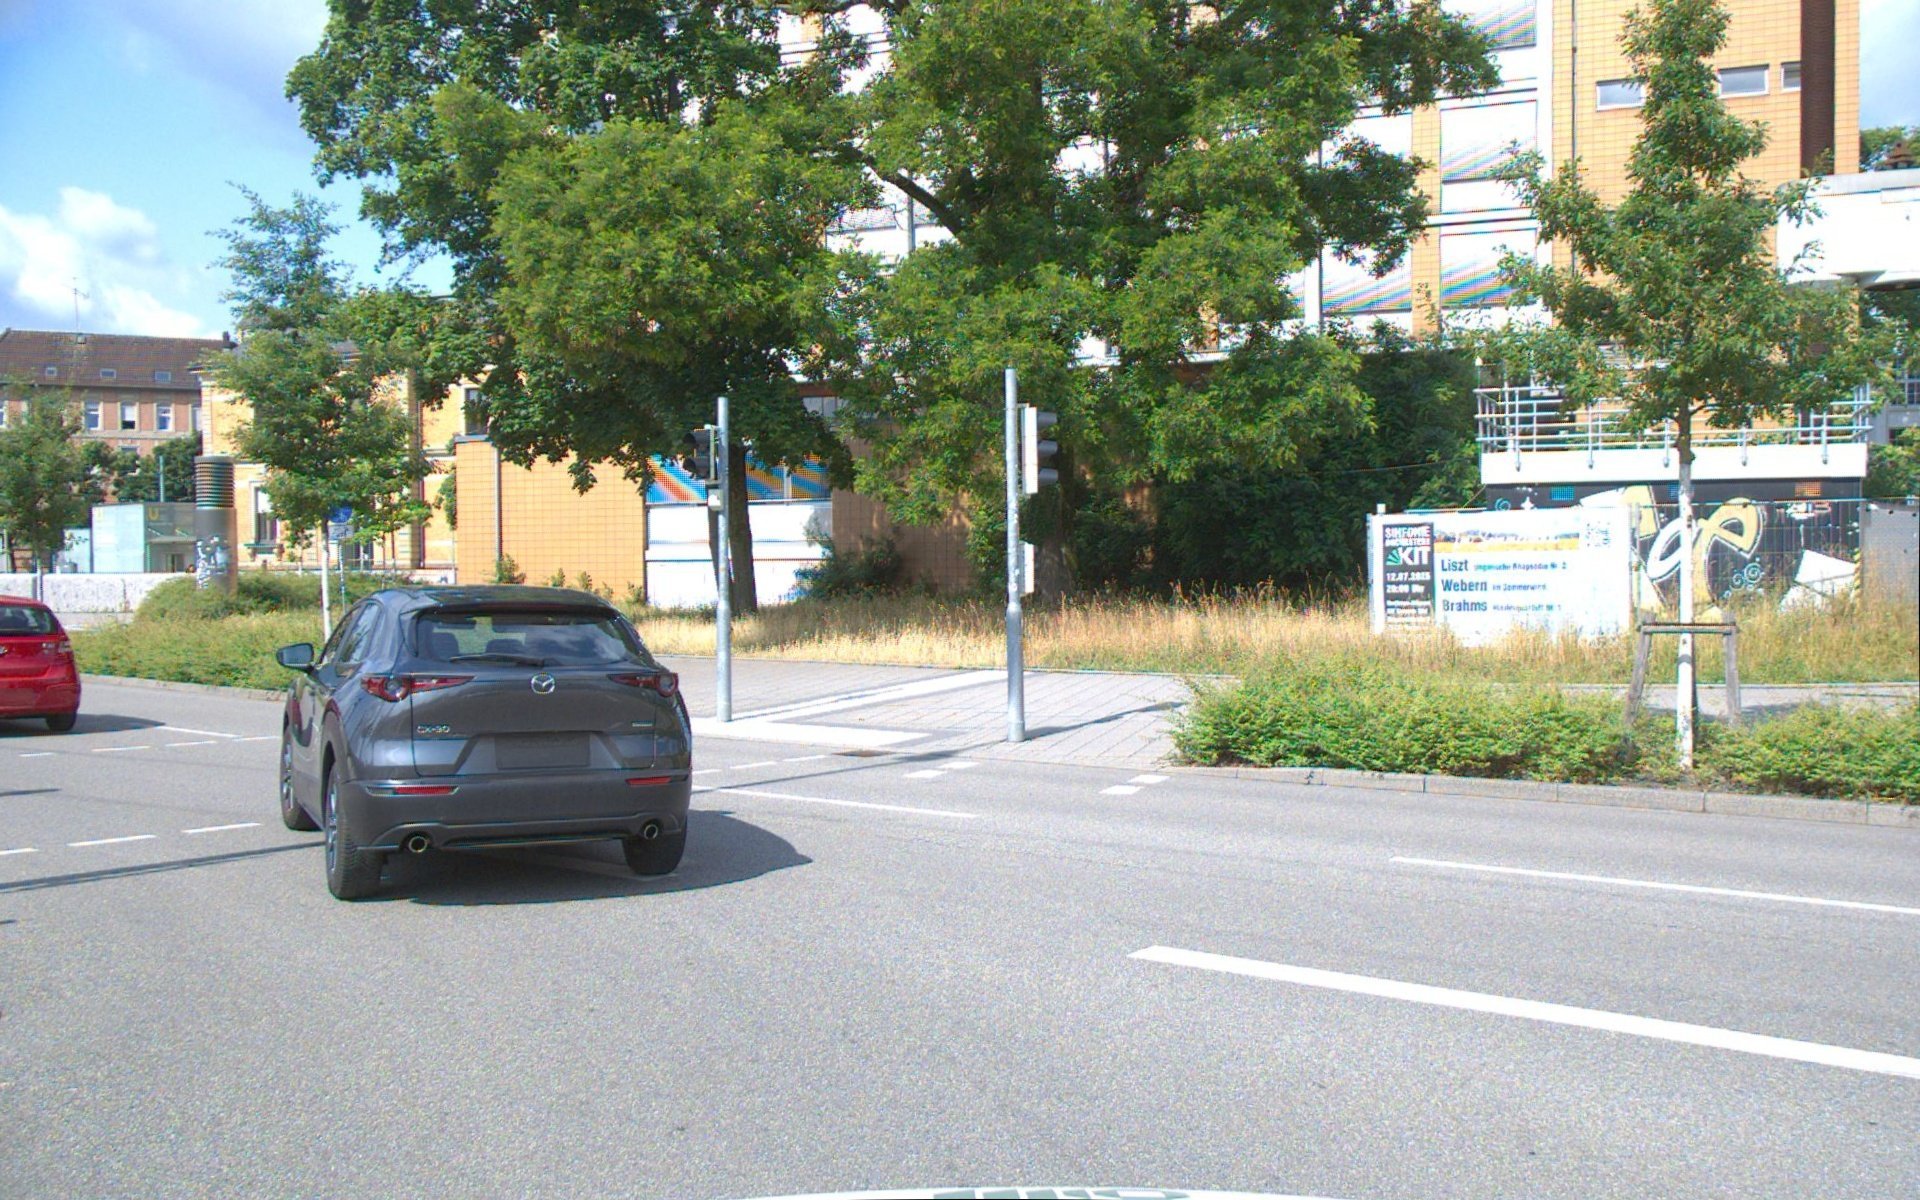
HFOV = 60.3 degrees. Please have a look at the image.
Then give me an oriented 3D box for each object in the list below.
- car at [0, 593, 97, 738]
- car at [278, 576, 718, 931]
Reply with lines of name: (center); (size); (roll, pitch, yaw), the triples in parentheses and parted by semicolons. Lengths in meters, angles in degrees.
car: (-11.137, 0.654, 18.223); (1.809, 1.464, 4.000); (1, 0, -45)
car: (-2.851, 0.669, 9.485); (1.783, 1.534, 4.171); (-1, 0, -25)
